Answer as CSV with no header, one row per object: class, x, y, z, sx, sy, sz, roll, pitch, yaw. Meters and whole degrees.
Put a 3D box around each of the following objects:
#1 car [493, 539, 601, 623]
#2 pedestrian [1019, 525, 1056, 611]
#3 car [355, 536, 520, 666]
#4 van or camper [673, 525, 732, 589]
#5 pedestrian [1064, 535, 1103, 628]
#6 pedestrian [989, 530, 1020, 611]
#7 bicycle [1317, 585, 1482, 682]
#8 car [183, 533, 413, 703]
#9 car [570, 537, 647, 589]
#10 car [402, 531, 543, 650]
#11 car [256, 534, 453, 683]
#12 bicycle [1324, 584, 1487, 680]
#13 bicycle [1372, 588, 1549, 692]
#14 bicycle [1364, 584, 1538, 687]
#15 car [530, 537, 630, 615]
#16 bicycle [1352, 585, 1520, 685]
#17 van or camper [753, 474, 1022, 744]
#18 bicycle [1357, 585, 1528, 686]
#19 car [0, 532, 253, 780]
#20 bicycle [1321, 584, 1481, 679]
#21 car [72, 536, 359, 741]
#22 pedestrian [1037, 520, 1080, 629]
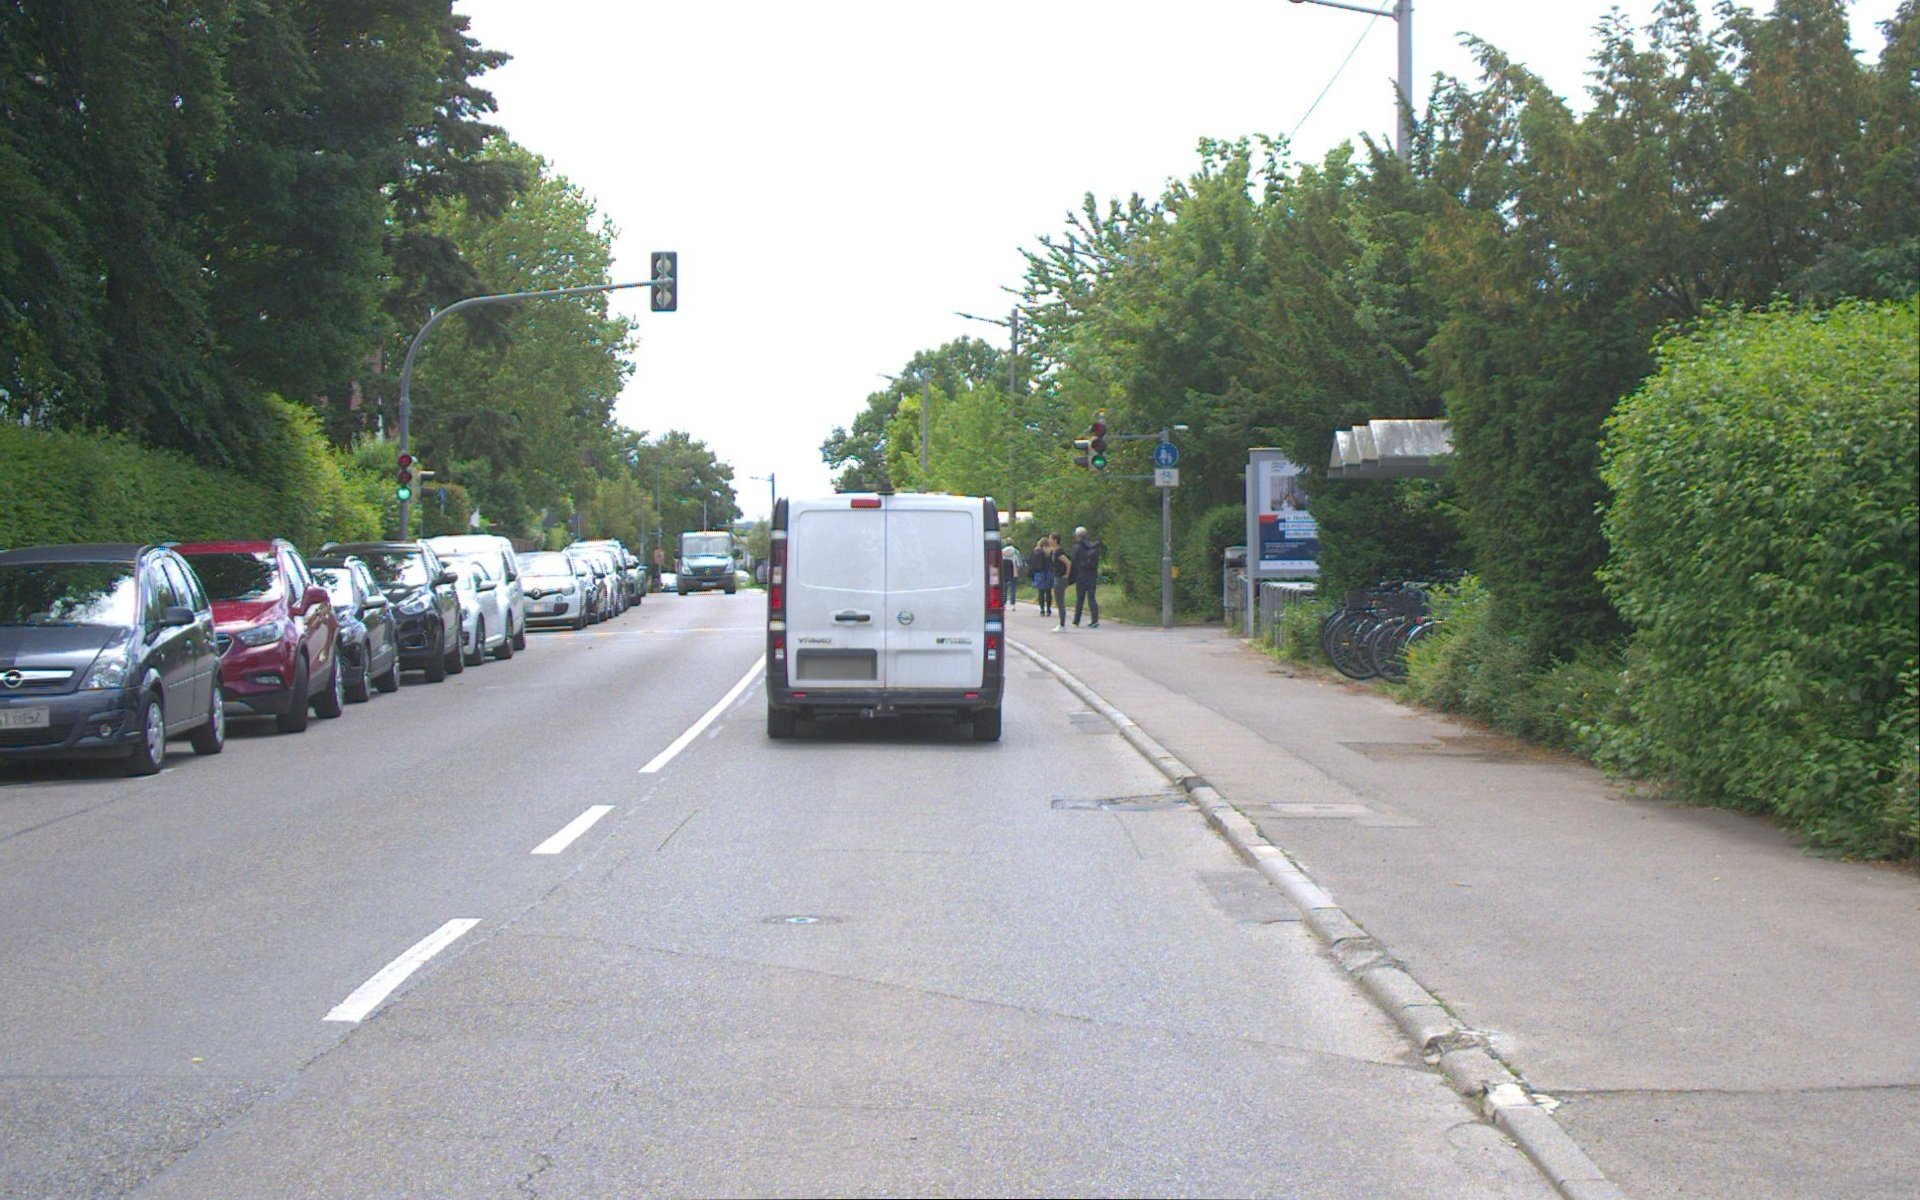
car,-8.022,-0.386,66.973,1.761,1.551,3.815,-1,1,-2
pedestrian,1.639,-0.678,72.415,0.649,1.800,0.566,0,1,-12
car,-7.017,-0.029,46.449,1.761,1.651,3.815,-1,1,-2
van or camper,-9.285,-1.566,124.219,2.004,2.254,4.613,-1,1,-4
pedestrian,2.246,-0.341,62.452,0.674,1.690,0.522,0,1,4
pedestrian,1.026,-0.683,79.394,0.702,1.844,0.666,0,1,-1
bicycle,4.739,0.355,37.113,1.698,1.027,0.491,0,1,-2
car,-6.817,0.141,35.735,1.761,1.651,3.815,-1,1,-2
car,-9.851,-1.046,96.655,1.780,1.419,4.000,0,1,0
car,-7.532,-0.180,53.410,1.761,1.750,3.815,-1,1,-2
car,-7.121,0.060,40.751,1.761,1.651,3.815,-1,1,-2
bicycle,4.873,0.349,37.634,1.698,1.027,0.491,0,1,-2
bicycle,5.054,0.397,34.733,1.698,1.027,0.491,0,1,-2
bicycle,5.034,0.360,35.288,1.698,1.027,0.491,0,1,-2
car,-8.372,-0.545,76.004,1.780,1.663,4.000,0,1,0
bicycle,5.040,0.367,36.428,1.698,1.027,0.491,0,1,-2
van or camper,-0.572,0.051,28.290,1.993,2.007,4.446,1,0,-1
bicycle,5.031,0.369,35.864,1.698,1.027,0.491,0,1,-2
car,-6.348,0.337,24.790,1.761,1.620,4.186,-1,1,-2
bicycle,4.891,0.348,38.184,1.698,1.027,0.491,0,1,-2
car,-6.468,0.279,30.273,1.761,1.651,4.061,-1,1,-2
pedestrian,1.669,-0.443,58.332,0.680,1.834,0.645,0,1,5
